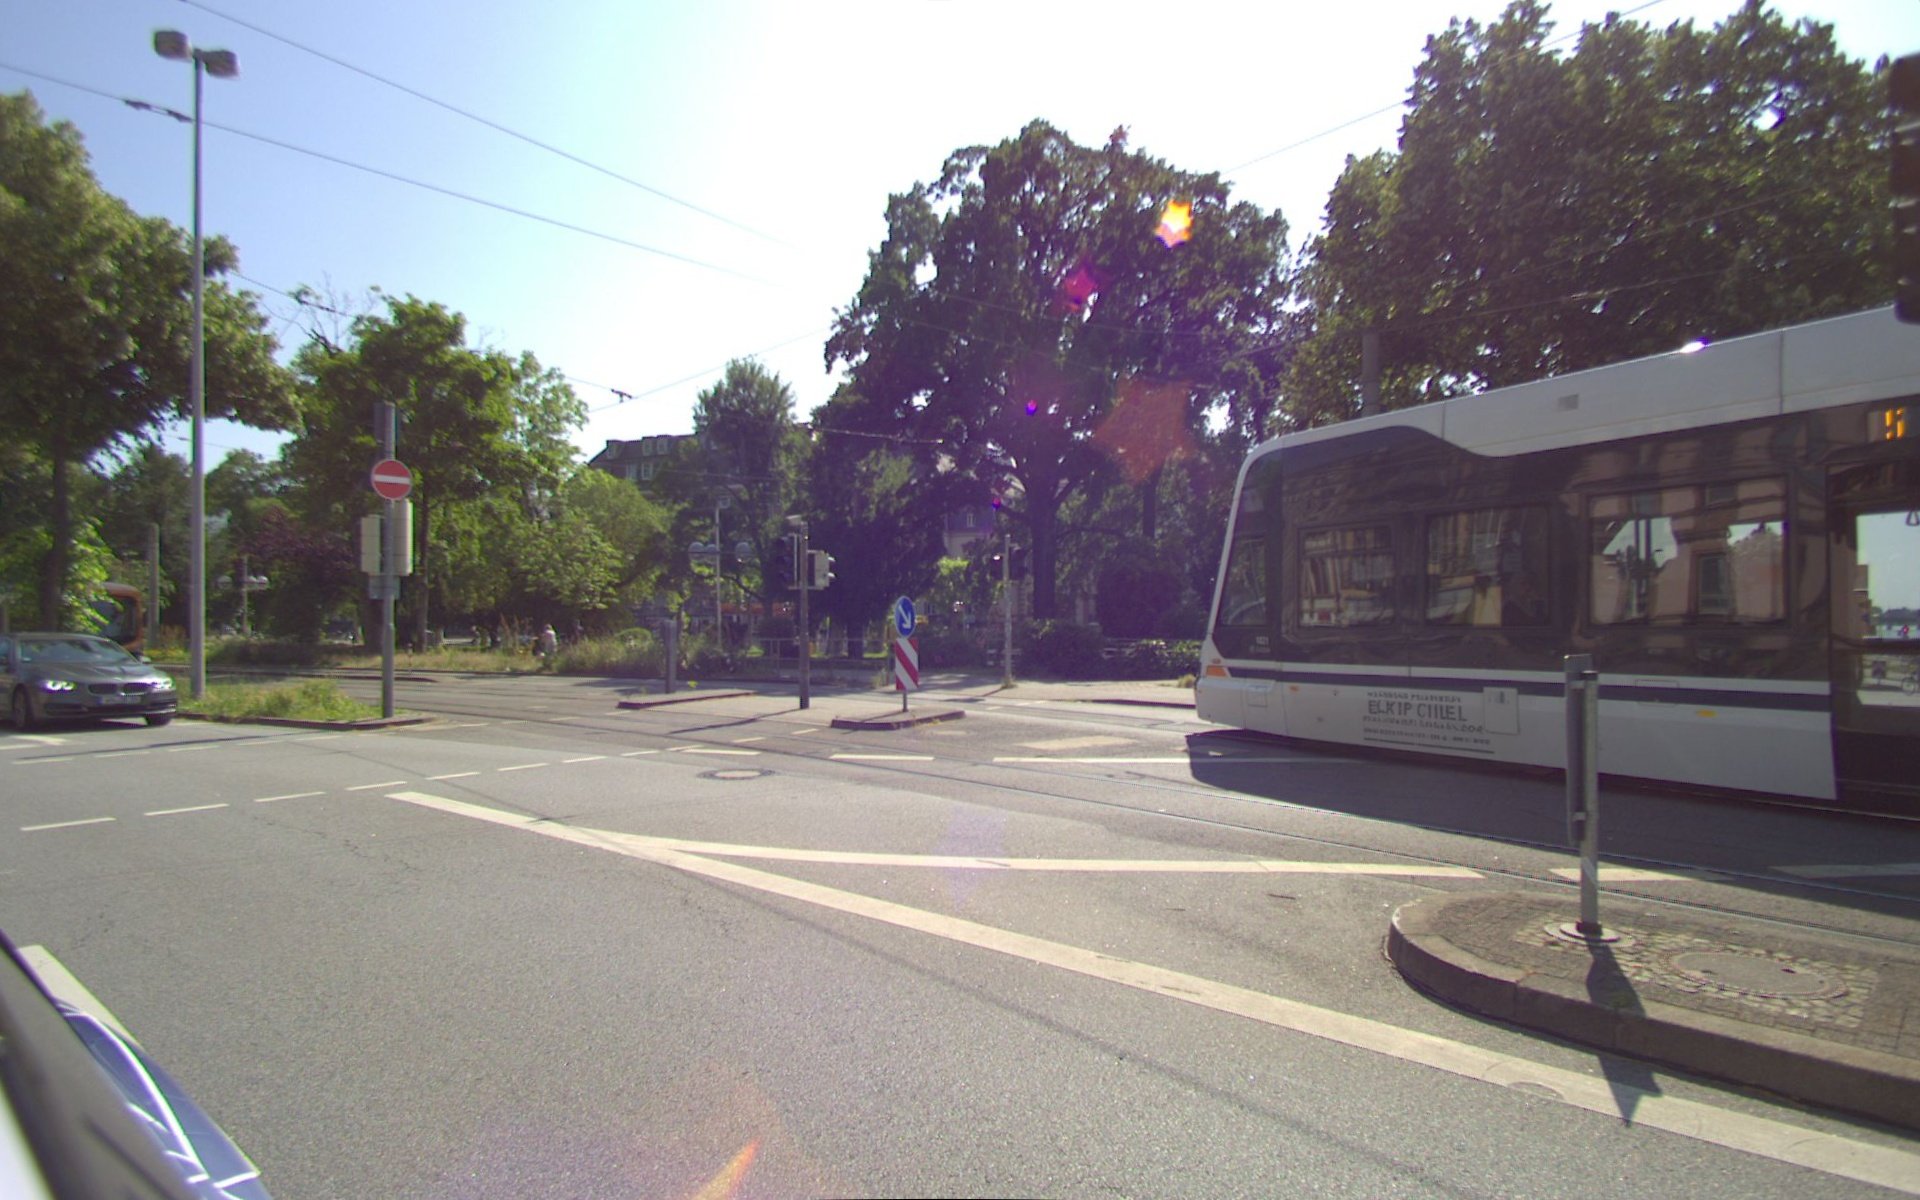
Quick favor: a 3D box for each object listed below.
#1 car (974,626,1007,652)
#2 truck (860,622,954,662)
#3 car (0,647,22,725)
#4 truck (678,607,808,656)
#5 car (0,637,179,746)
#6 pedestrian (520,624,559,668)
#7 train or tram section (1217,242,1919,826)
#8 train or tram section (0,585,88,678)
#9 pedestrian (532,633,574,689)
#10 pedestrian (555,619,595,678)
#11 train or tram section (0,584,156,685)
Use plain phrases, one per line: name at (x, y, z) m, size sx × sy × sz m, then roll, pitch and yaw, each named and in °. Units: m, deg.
car at (2.474, 3.082, 80.633) m, size 1.978 × 2.029 × 4.542 m, roll -1°, pitch -1°, yaw 10°
truck at (-4.428, 3.472, 84.177) m, size 7.614 × 3.240 × 2.444 m, roll -1°, pitch -2°, yaw 27°
car at (-19.610, 1.604, 19.116) m, size 3.987 × 1.422 × 1.779 m, roll -1°, pitch -2°, yaw 32°
truck at (-19.948, 2.891, 92.796) m, size 11.730 × 4.295 × 3.606 m, roll -1°, pitch -2°, yaw 22°
car at (-14.435, 1.365, 15.979) m, size 4.730 × 1.497 × 1.735 m, roll -2°, pitch -3°, yaw 31°
pedestrian at (-15.878, 1.721, 38.211) m, size 0.933 × 1.632 × 1.026 m, roll -2°, pitch -3°, yaw 37°
train or tram section at (6.482, -0.375, 8.717) m, size 2.502 × 3.806 × 9.196 m, roll 0°, pitch -2°, yaw -30°
train or tram section at (-39.987, 1.330, 41.533) m, size 12.369 × 3.429 × 2.739 m, roll -2°, pitch -2°, yaw 32°
pedestrian at (-15.119, 2.233, 37.599) m, size 0.801 × 2.029 × 1.210 m, roll -2°, pitch -3°, yaw 37°
pedestrian at (-14.217, 1.780, 37.359) m, size 0.801 × 2.167 × 1.113 m, roll -2°, pitch -3°, yaw 37°
train or tram section at (-32.201, 1.259, 36.754) m, size 5.864 × 3.429 × 2.740 m, roll -1°, pitch -2°, yaw 30°
